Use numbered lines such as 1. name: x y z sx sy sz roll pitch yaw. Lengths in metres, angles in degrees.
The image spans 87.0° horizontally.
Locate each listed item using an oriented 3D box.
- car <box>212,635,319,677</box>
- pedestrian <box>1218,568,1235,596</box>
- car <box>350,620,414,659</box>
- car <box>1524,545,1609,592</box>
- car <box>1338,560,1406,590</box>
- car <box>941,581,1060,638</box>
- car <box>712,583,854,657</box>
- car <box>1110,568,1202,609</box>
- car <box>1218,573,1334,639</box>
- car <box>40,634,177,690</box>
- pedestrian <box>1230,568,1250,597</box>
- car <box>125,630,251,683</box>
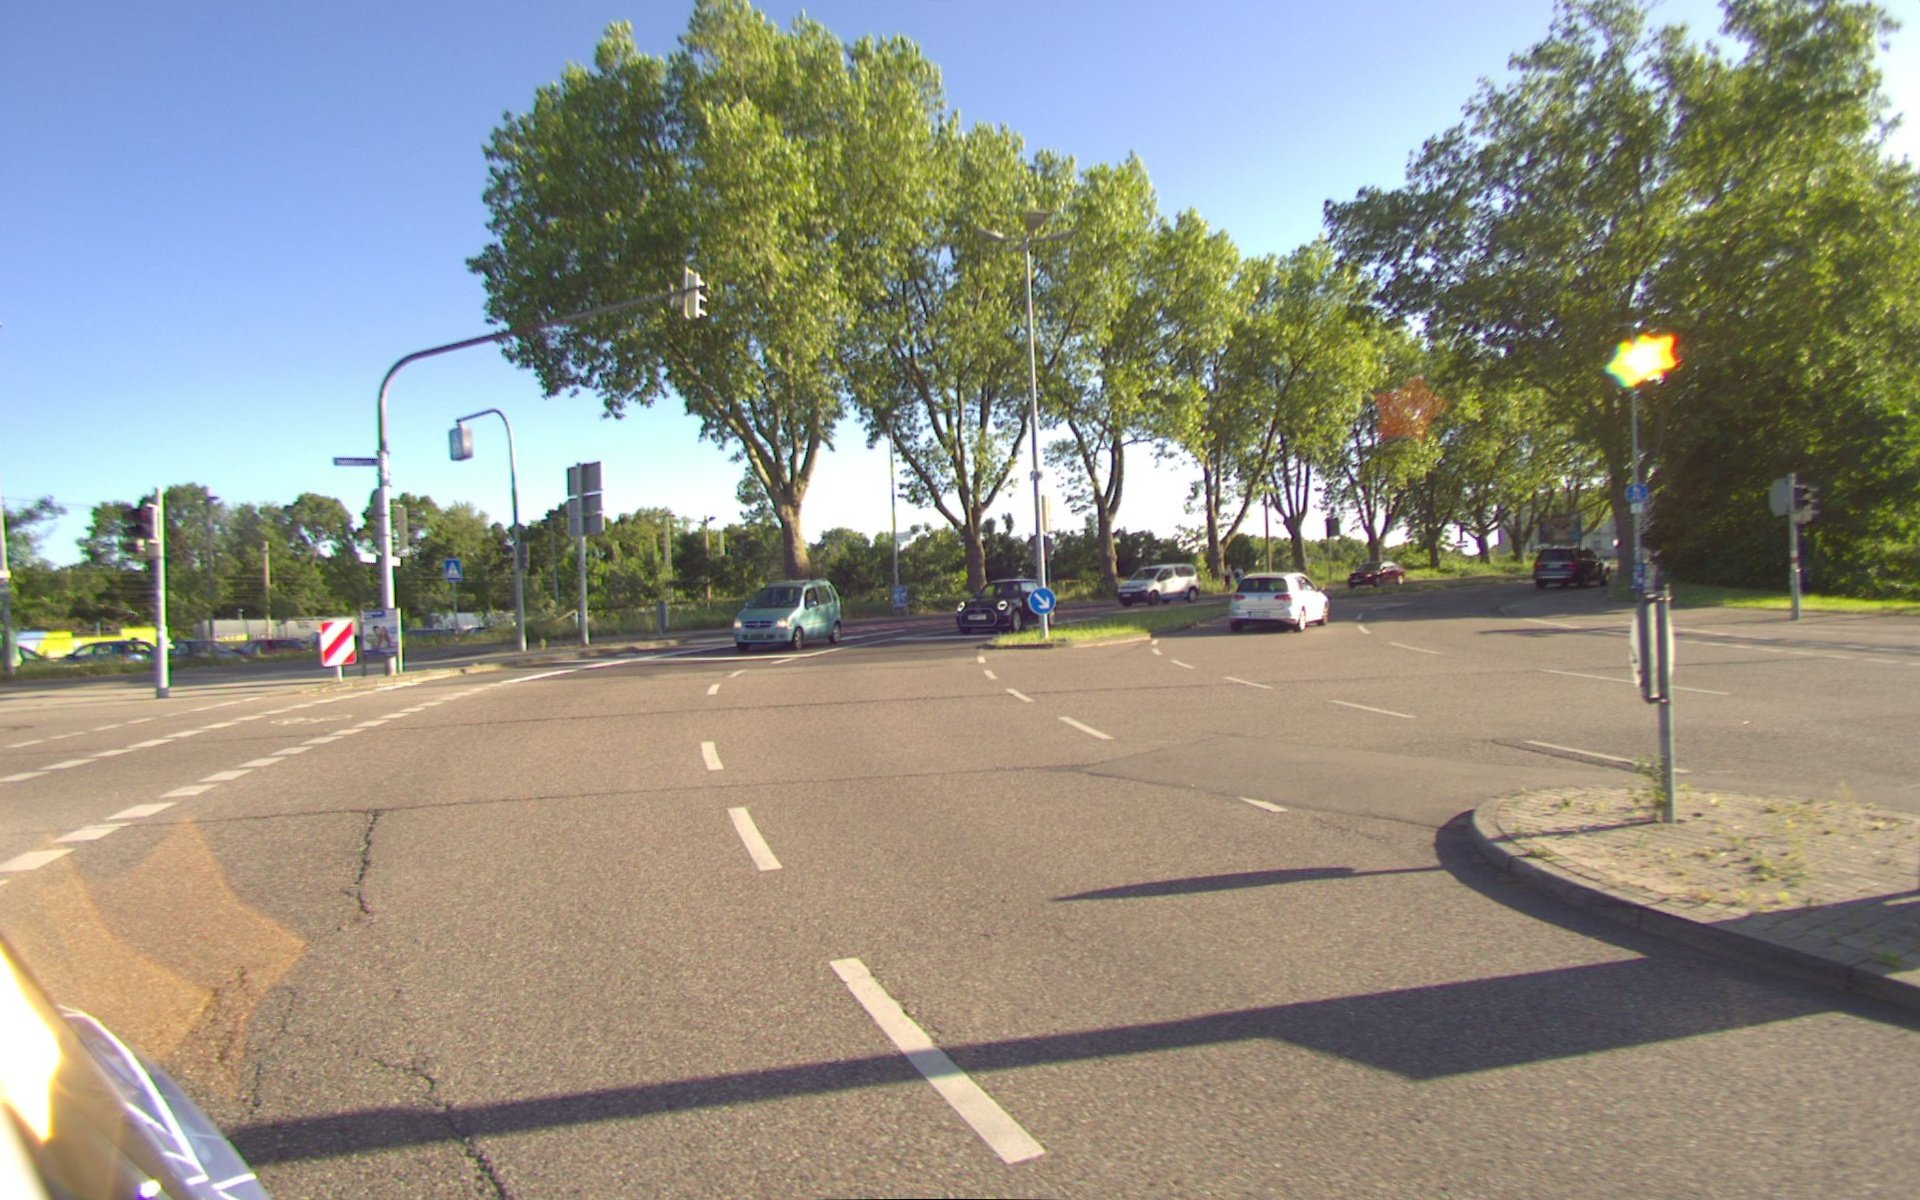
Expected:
1. car: -26.772 2.159 38.995 3.980 1.470 1.714 -2 0 27
2. pedestrian: 15.451 -1.032 58.711 0.621 1.598 0.666 -3 0 -41
3. car: -31.191 2.105 54.557 2.165 1.852 5.034 -3 0 -39
4. car: 27.159 -1.405 45.223 4.742 1.901 2.121 -3 0 -45
5. car: 24.469 -1.498 60.050 4.256 1.611 1.863 -3 1 -39
6. car: 1.225 0.224 28.704 1.900 1.438 3.901 -2 1 27
7. car: -4.313 0.442 25.366 1.903 1.648 4.100 -2 1 16
8. car: 9.109 -0.545 46.891 4.198 1.756 1.863 -3 1 -38
9. car: 8.129 0.119 25.781 1.969 1.438 3.897 -2 1 30
10. car: -29.043 2.105 34.528 3.825 1.678 1.999 -2 0 22
11. pedestrian: 15.970 -1.007 57.772 0.792 1.603 0.732 -3 0 -41
12. car: -27.877 2.027 36.557 3.973 1.695 1.828 -2 0 22
